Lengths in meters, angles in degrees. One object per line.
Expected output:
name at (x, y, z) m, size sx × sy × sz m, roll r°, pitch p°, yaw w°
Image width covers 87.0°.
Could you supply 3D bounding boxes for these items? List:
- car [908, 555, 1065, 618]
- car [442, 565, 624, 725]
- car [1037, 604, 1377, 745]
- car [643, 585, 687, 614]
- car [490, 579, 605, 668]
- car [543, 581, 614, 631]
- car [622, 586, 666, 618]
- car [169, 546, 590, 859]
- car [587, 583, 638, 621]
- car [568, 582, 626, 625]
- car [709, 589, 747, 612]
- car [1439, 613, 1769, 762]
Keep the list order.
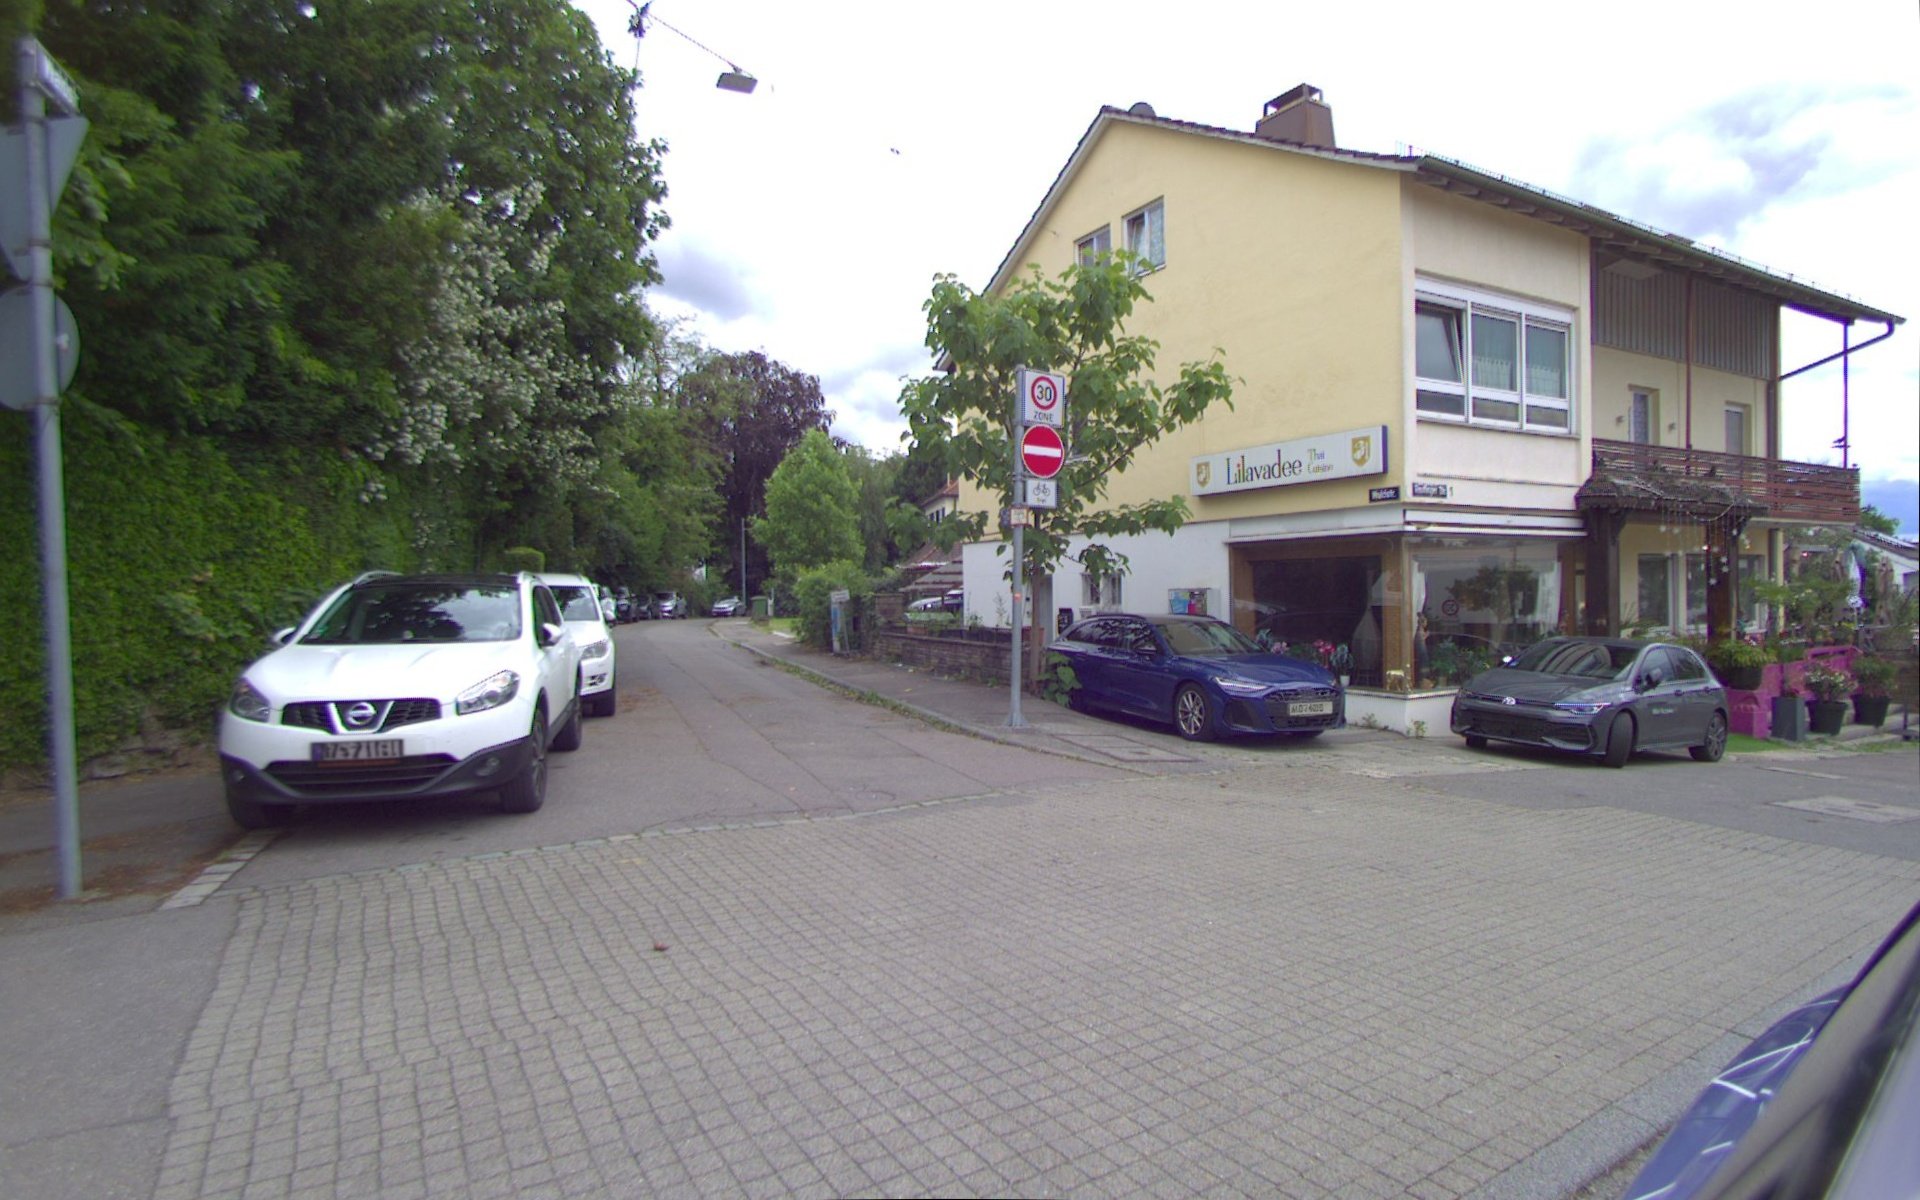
car at (0.772, -0.373, 30.181) m, size 4.235 × 1.480 × 1.802 m, roll 4°, pitch -2°, yaw -19°
car at (-5.177, 0.433, 12.608) m, size 1.761 × 1.643 × 4.080 m, roll -1°, pitch 1°, yaw -20°
car at (2.914, 0.827, 13.209) m, size 1.761 × 1.405 × 4.758 m, roll 2°, pitch 0°, yaw -23°
car at (-16.243, -0.042, 55.792) m, size 1.543 × 1.502 × 3.476 m, roll 0°, pitch 1°, yaw -3°
car at (-7.516, 0.344, 18.685) m, size 1.761 × 1.441 × 4.080 m, roll -1°, pitch 1°, yaw -20°
car at (-12.219, 0.138, 32.590) m, size 1.542 × 1.502 × 3.745 m, roll -1°, pitch 1°, yaw -11°
car at (-15.919, 0.073, 51.110) m, size 1.542 × 1.502 × 3.479 m, roll -1°, pitch 1°, yaw -8°
car at (-3.867, 0.507, 7.553) m, size 1.761 × 1.643 × 4.144 m, roll -1°, pitch 1°, yaw -16°
car at (-14.209, 0.044, 41.524) m, size 1.542 × 1.502 × 3.481 m, roll -1°, pitch 1°, yaw -11°
car at (-13.425, 0.103, 37.543) m, size 1.542 × 1.502 × 3.481 m, roll -1°, pitch 1°, yaw -11°
car at (-16.351, 0.027, 71.455) m, size 1.547 × 1.502 × 3.468 m, roll 0°, pitch 1°, yaw 7°
car at (7.943, 1.063, 12.371) m, size 4.242 × 1.480 × 1.800 m, roll 5°, pitch -2°, yaw -34°
